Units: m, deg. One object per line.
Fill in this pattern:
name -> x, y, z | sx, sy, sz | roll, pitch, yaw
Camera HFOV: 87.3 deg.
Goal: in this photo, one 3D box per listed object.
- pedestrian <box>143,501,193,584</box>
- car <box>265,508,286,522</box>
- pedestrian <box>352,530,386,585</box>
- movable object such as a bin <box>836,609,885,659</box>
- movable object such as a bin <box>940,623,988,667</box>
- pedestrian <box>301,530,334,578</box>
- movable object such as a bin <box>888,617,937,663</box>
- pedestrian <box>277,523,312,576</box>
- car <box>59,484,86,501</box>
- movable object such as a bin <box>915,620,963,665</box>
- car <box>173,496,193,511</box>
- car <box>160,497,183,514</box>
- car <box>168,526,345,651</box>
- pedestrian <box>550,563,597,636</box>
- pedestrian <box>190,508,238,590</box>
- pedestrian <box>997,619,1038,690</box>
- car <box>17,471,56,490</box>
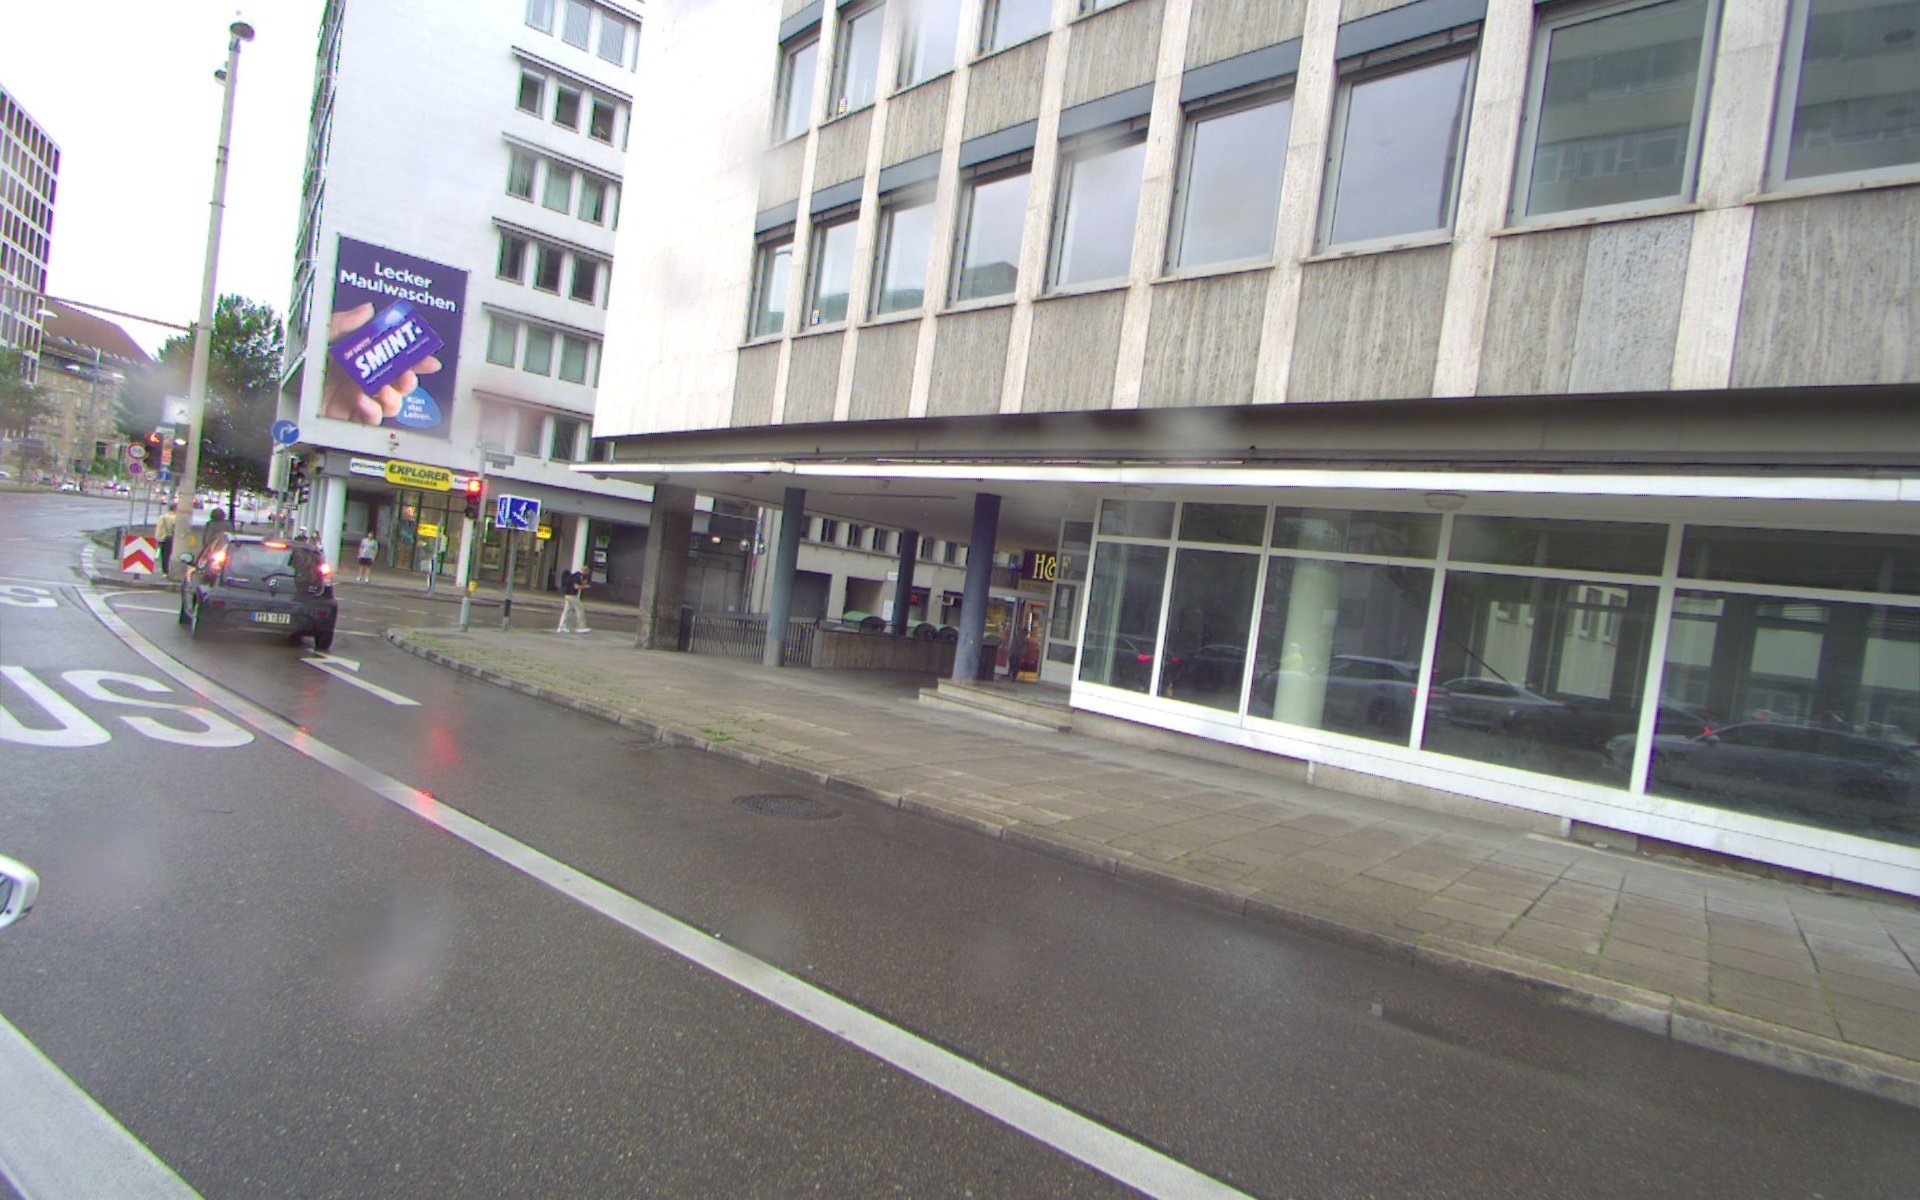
pedestrian -> -18.576, -1.362, 23.618 | 0.745, 1.820, 0.808 | 7, 1, -38
car -> -91.588, -11.351, 134.573 | 1.680, 1.503, 3.973 | 8, -2, -28
pedestrian -> -20.840, -1.487, 35.496 | 0.660, 1.815, 0.771 | 8, 0, -15
movable object such as a bin -> -3.323, 1.129, 33.512 | 0.961, 1.447, 1.268 | 7, 1, -36
movable object such as a bin -> 0.155, 1.643, 36.639 | 1.095, 1.399, 1.186 | 7, 1, -37
pedestrian -> -22.144, -1.565, 34.675 | 0.616, 1.561, 0.651 | 8, 0, -15
movable object such as a bin -> -1.679, 1.401, 35.216 | 1.095, 1.399, 1.186 | 7, 1, -37
pedestrian -> -22.819, -1.721, 34.499 | 0.660, 1.675, 0.651 | 8, 0, -15
car -> -97.532, -11.794, 110.541 | 1.622, 1.454, 3.871 | 8, 0, -34
movable object such as a bin -> -0.750, 1.516, 35.951 | 1.095, 1.399, 1.186 | 7, 1, -37
car -> -132.214, -16.348, 171.177 | 1.980, 2.037, 3.968 | 8, -1, -31
car -> -97.995, -11.727, 124.996 | 1.878, 1.662, 3.962 | 8, -1, -35
car -> -10.459, -0.227, 14.842 | 1.566, 1.446, 3.953 | 9, -2, -42
pedestrian -> -9.868, -0.008, 25.664 | 0.768, 1.752, 0.589 | 7, 0, -44
pedestrian -> -17.679, -1.213, 23.846 | 0.745, 1.820, 0.808 | 7, 1, -38
pedestrian -> 1.571, 1.473, 27.269 | 0.697, 1.825, 0.801 | 8, 0, 19
car -> -138.158, -17.885, 150.515 | 3.969, 2.037, 1.979 | 9, -1, -38
